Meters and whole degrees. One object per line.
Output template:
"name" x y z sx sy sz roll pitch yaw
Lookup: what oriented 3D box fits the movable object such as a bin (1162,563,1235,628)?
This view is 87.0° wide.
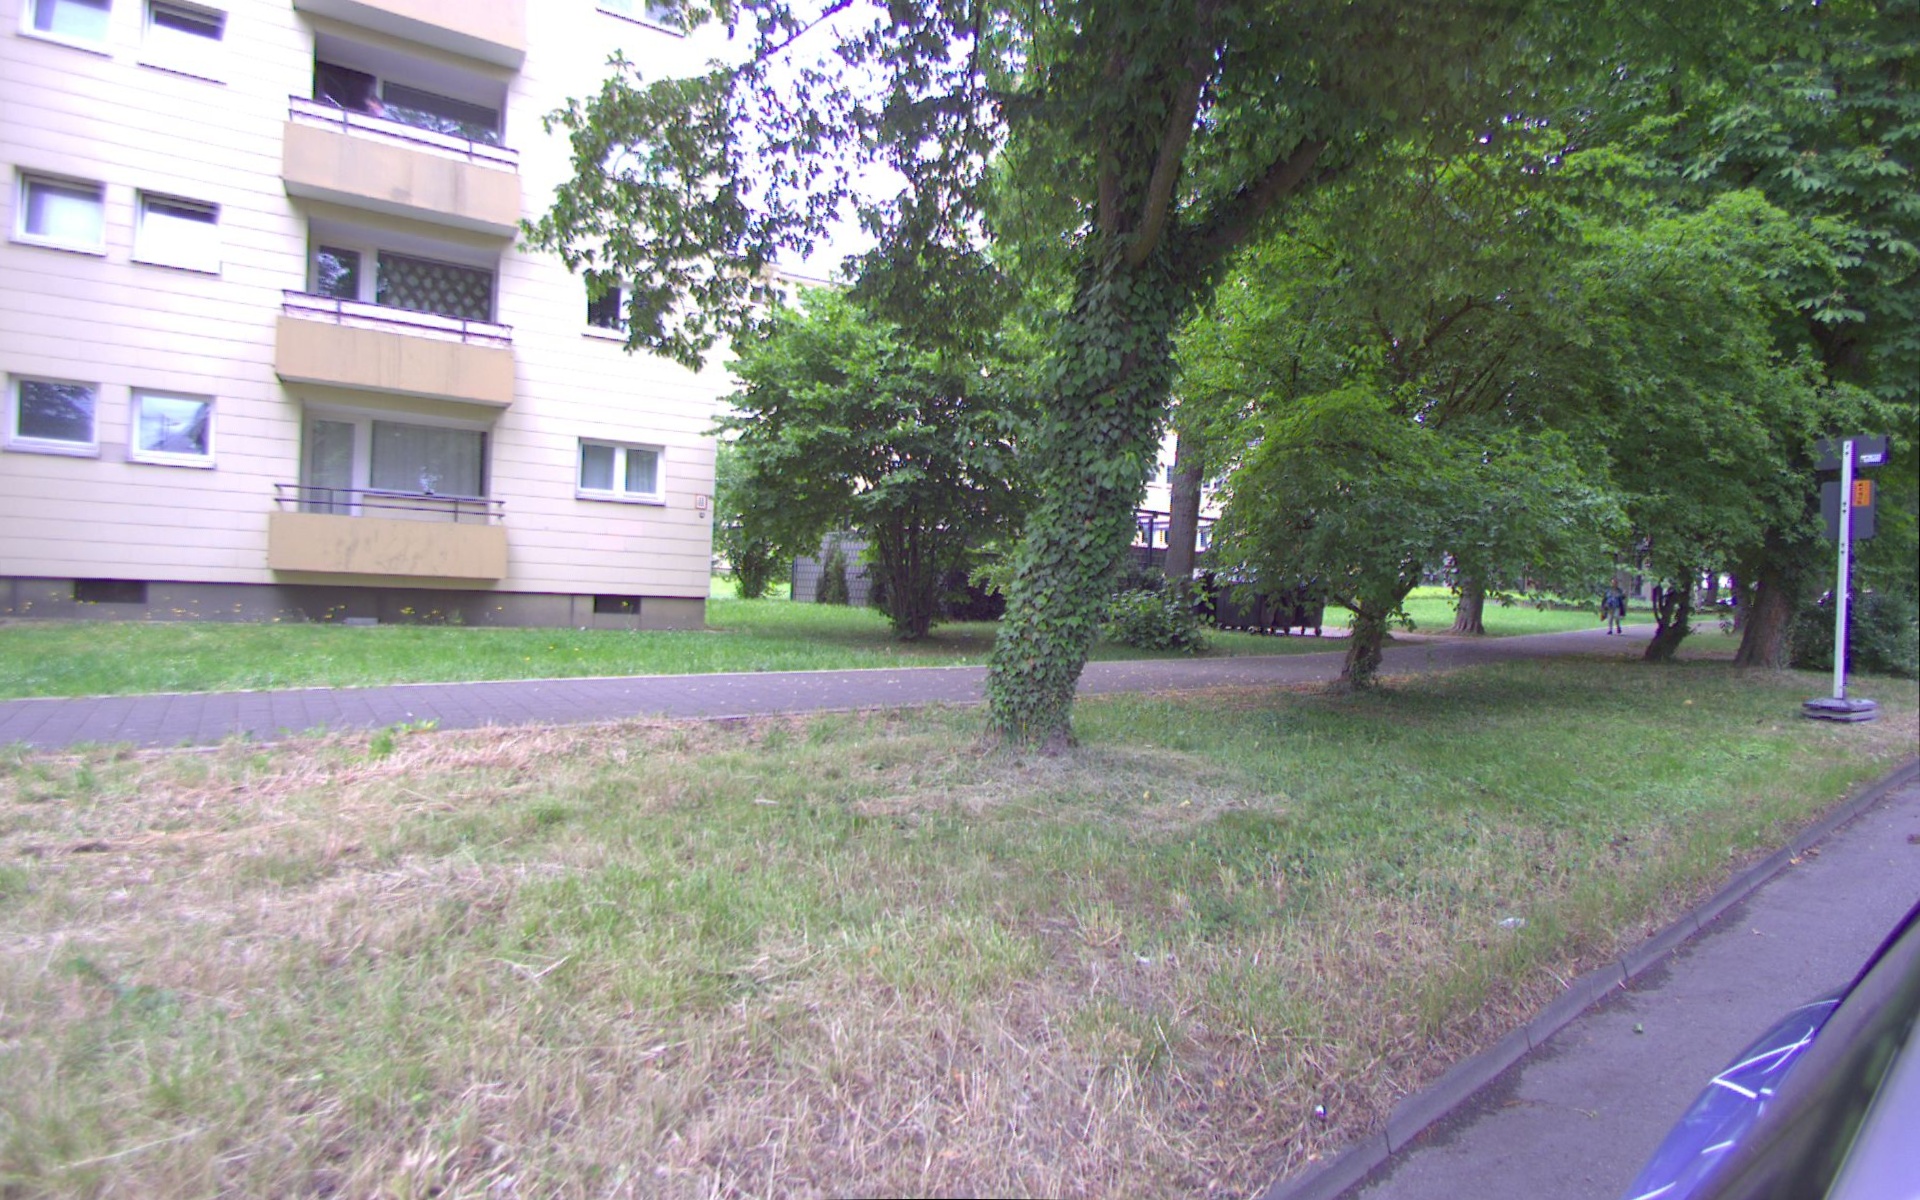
"movable object such as a bin" 5.694 -0.124 24.147 1.190 1.474 1.329 3 2 41

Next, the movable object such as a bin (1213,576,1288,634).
"movable object such as a bin" 6.693 0.097 23.288 1.190 1.235 1.329 3 2 41

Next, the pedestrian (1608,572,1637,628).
"pedestrian" 21.045 -0.003 32.143 0.560 1.761 0.565 1 3 -42

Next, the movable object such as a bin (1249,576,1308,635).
"movable object such as a bin" 7.572 0.113 24.072 1.022 1.320 0.946 3 2 41

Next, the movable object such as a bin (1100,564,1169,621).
"movable object such as a bin" 4.416 -0.192 25.605 1.190 1.358 1.329 3 2 41

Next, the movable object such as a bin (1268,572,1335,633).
"movable object such as a bin" 8.365 0.049 24.799 1.190 1.431 1.095 3 2 41
